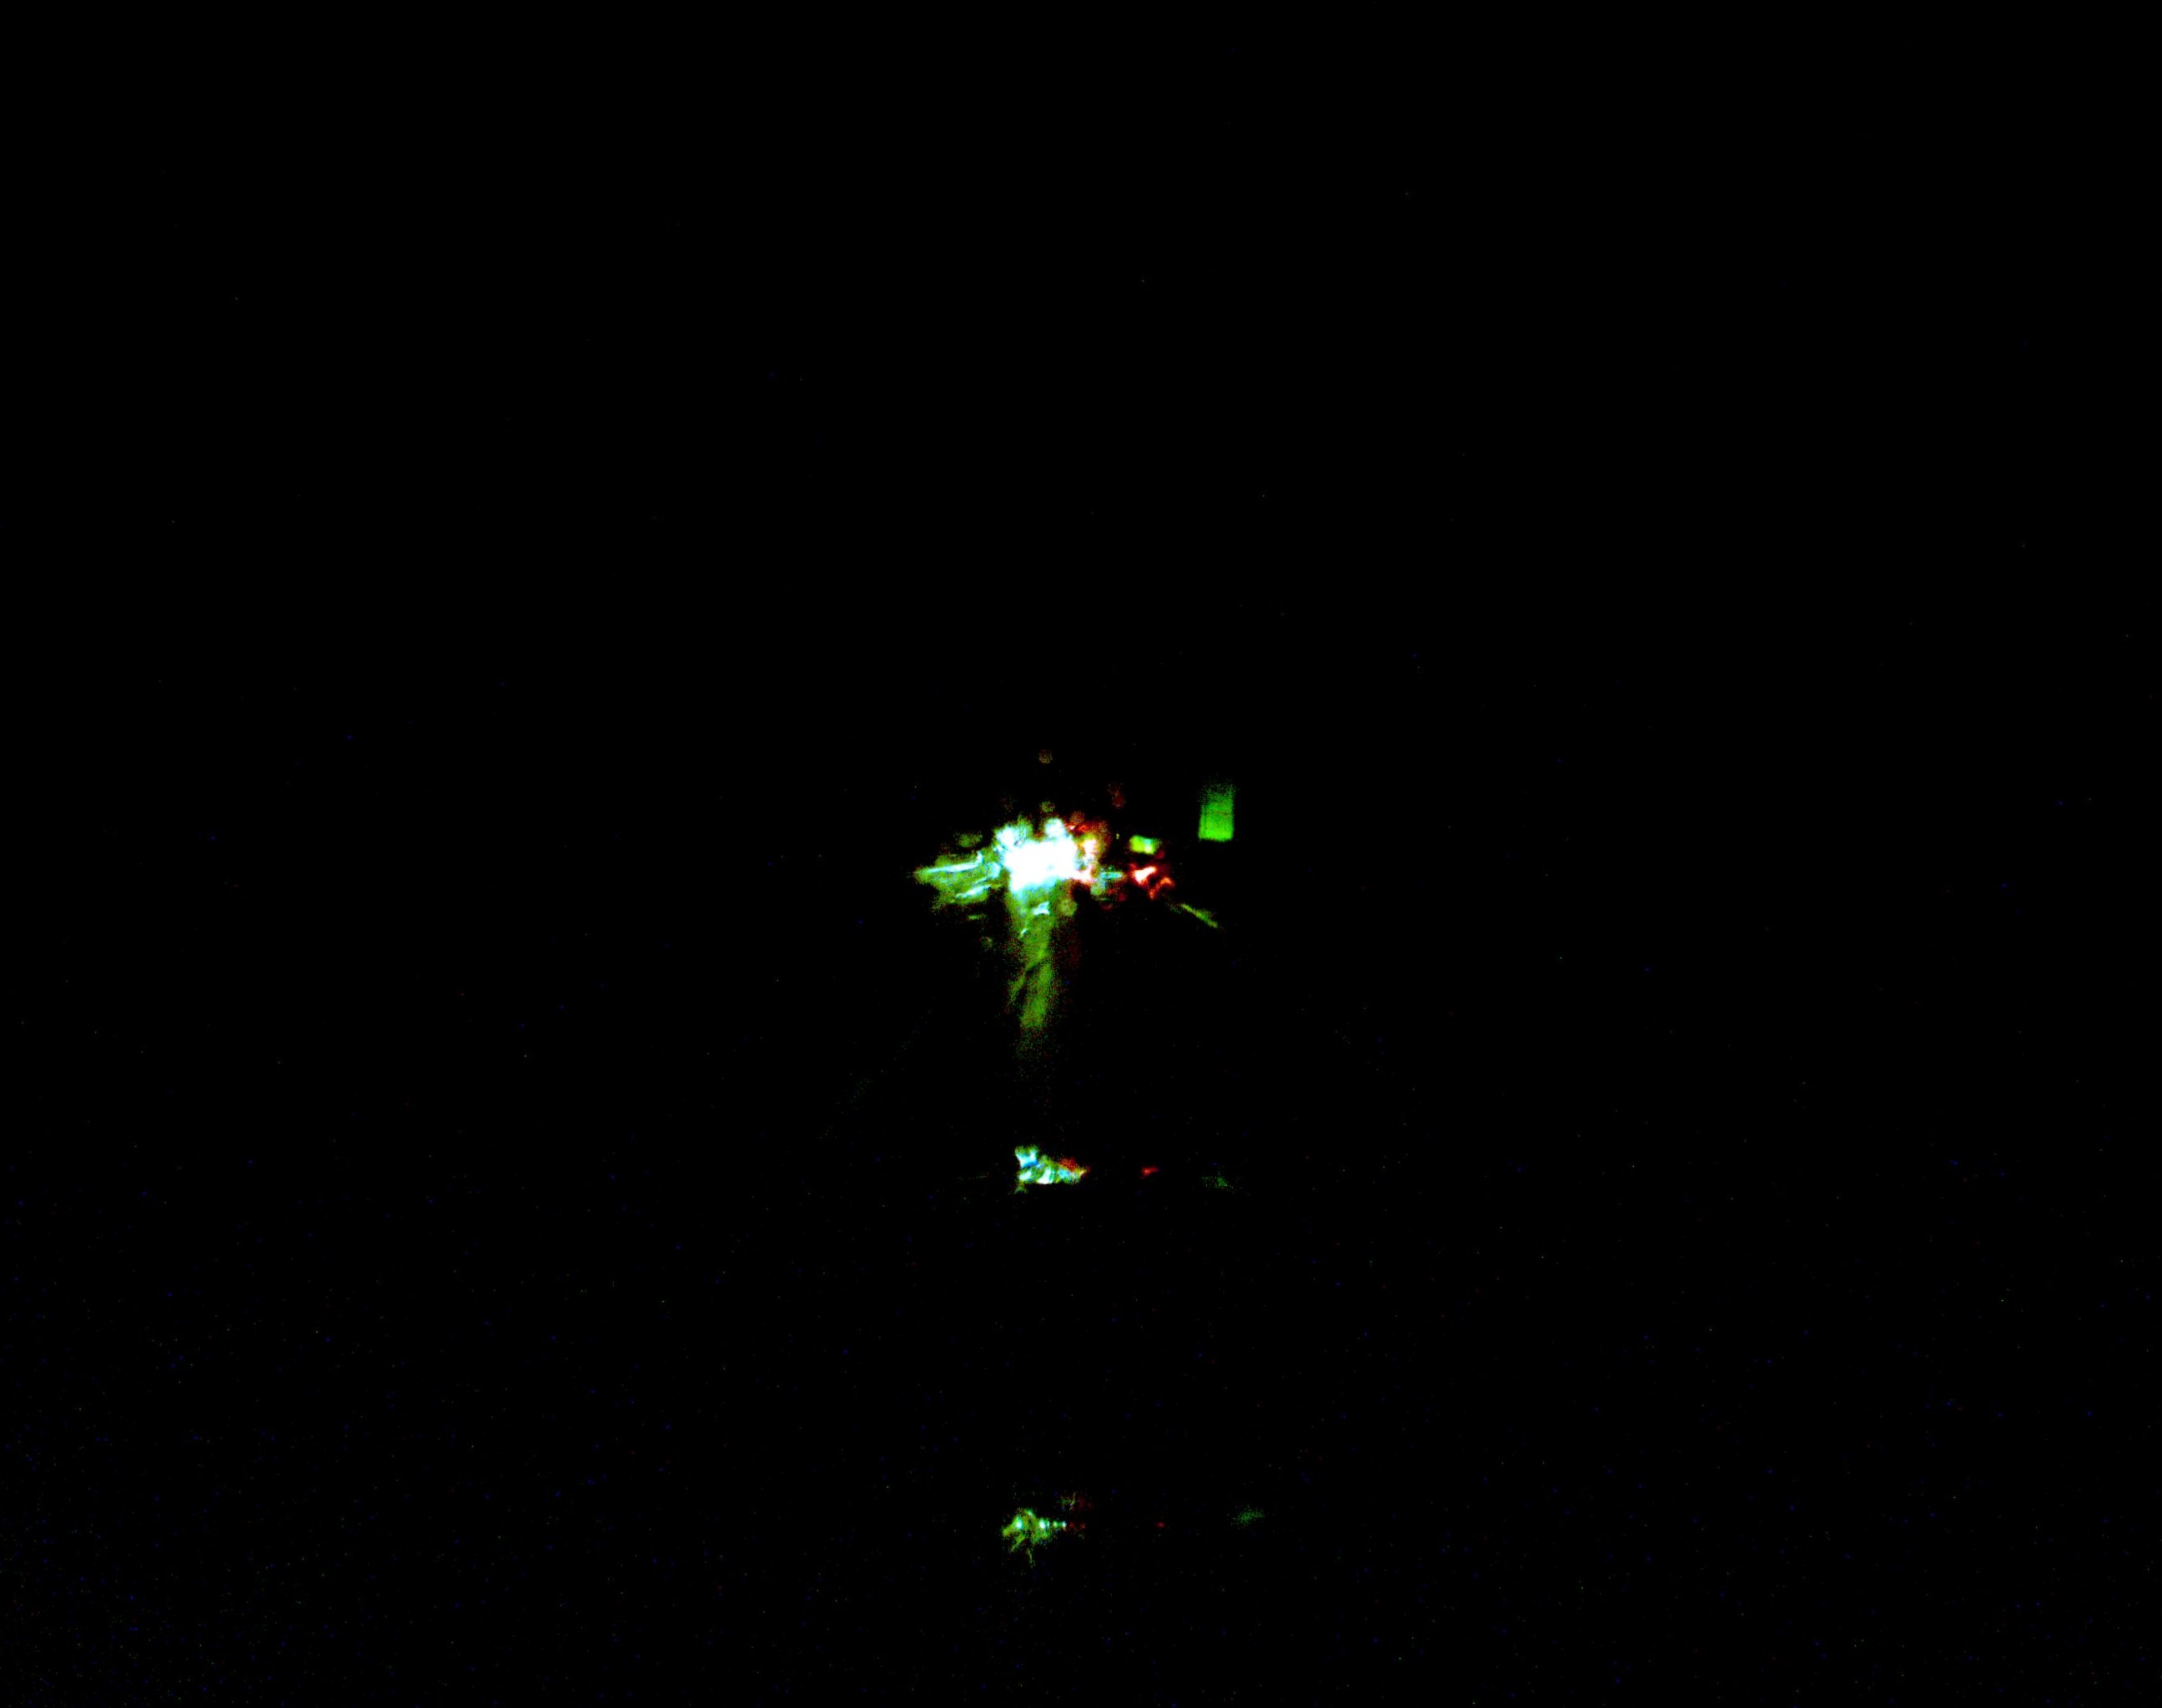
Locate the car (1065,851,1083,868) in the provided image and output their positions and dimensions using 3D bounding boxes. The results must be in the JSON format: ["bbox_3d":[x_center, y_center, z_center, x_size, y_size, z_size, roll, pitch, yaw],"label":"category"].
[{"bbox_3d":[-0.784,0.574,93.016,1.986,1.915,4.001,-1,0,1],"label":"car"}]

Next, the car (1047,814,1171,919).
[{"bbox_3d":[0.568,0.270,20.965,2.708,2.307,6.097,0,0,-1],"label":"car"}]

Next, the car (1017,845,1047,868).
[{"bbox_3d":[-3.446,0.151,58.037,1.856,1.544,4.228,0,1,-1],"label":"car"}]
